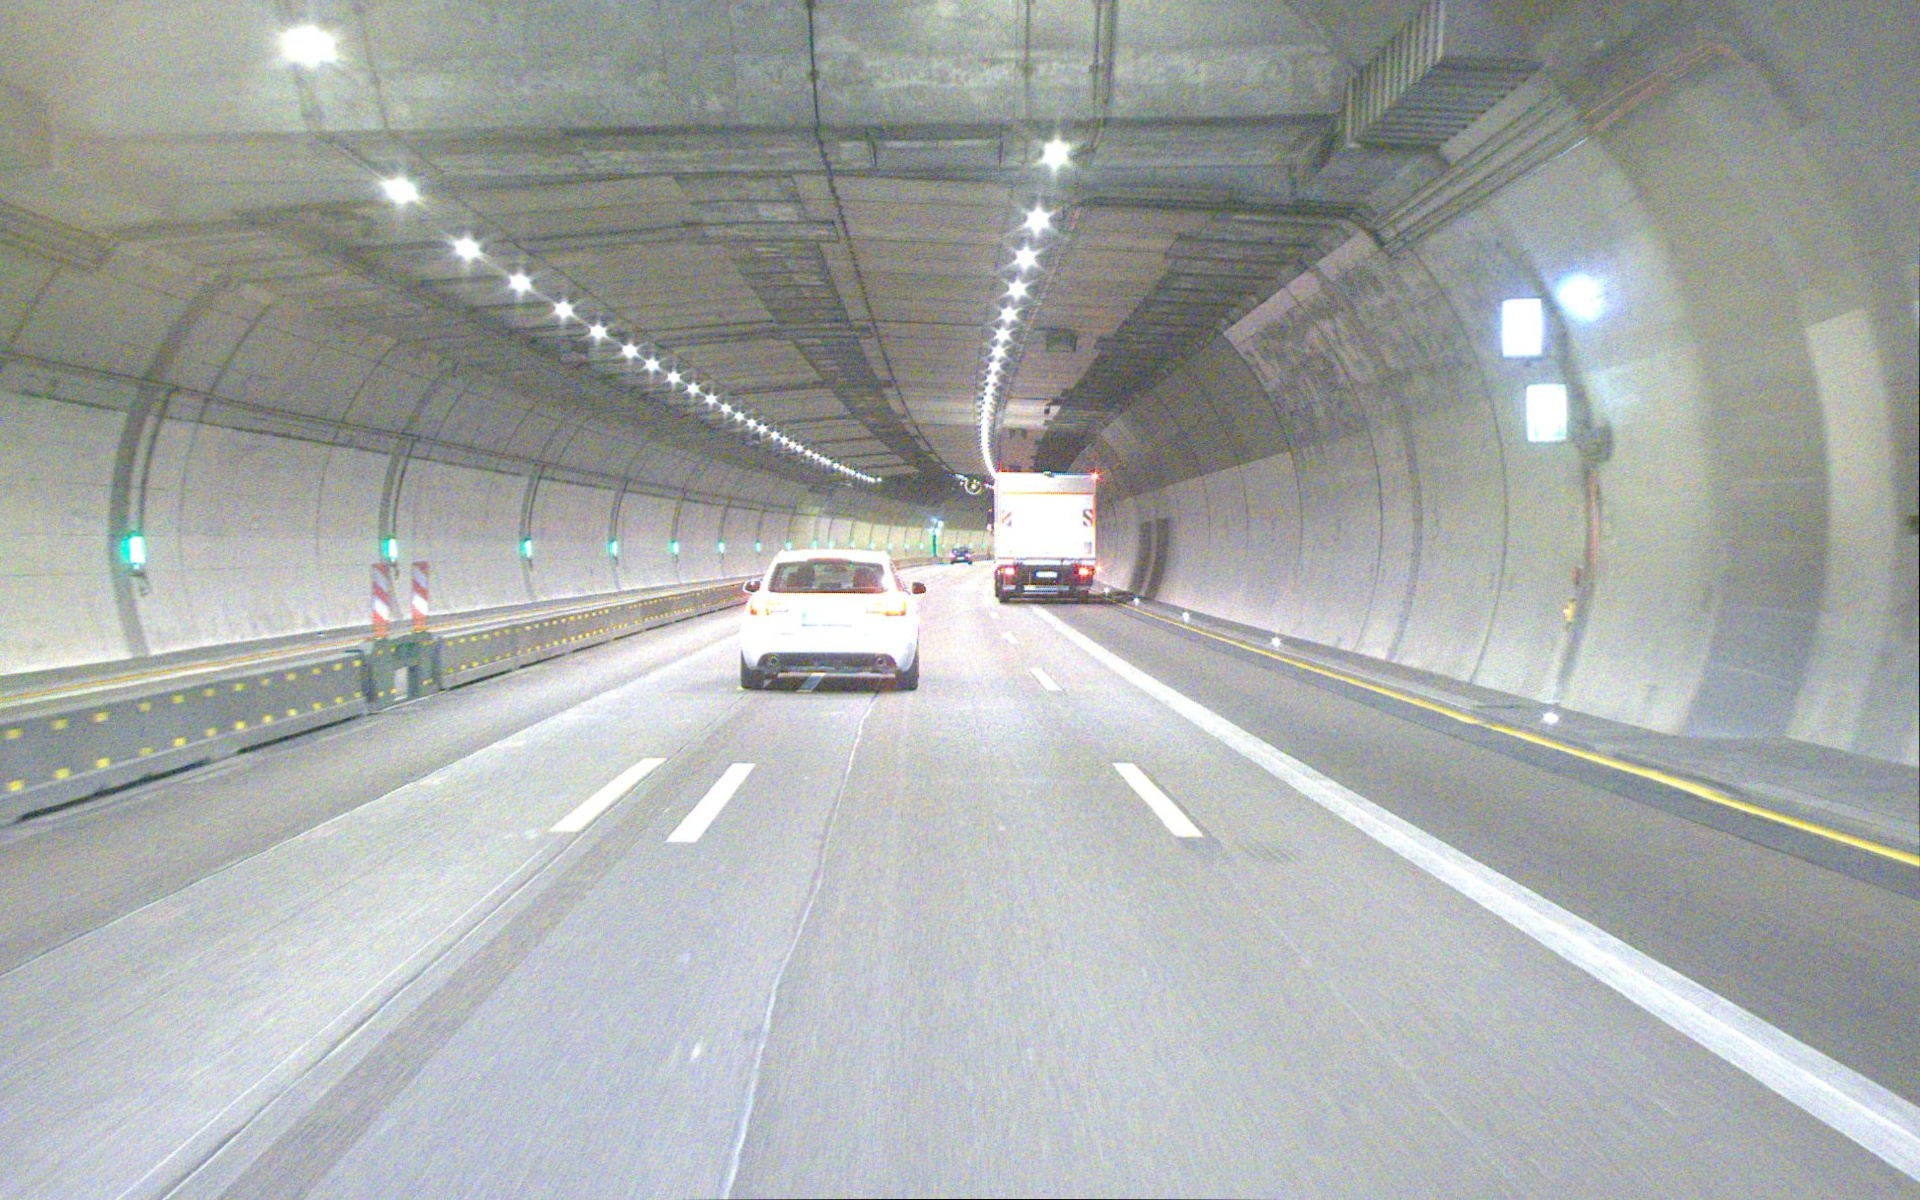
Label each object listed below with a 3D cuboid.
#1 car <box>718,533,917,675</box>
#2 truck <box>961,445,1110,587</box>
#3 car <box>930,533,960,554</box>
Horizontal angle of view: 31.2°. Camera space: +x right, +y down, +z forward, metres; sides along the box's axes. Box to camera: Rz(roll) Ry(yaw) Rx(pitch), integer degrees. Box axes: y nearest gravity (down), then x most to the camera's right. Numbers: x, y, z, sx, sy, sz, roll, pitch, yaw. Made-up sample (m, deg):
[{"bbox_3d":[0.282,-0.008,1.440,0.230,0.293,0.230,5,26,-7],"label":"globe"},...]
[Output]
[{"bbox_3d":[-1.473,-0.008,36.804,1.993,1.408,4.743,0,1,-1],"label":"car"},{"bbox_3d":[1.951,-2.259,93.609,3.592,3.638,10.723,0,1,-1],"label":"truck"},{"bbox_3d":[-1.137,-4.250,259.389,1.994,1.514,4.000,0,1,4],"label":"car"}]
